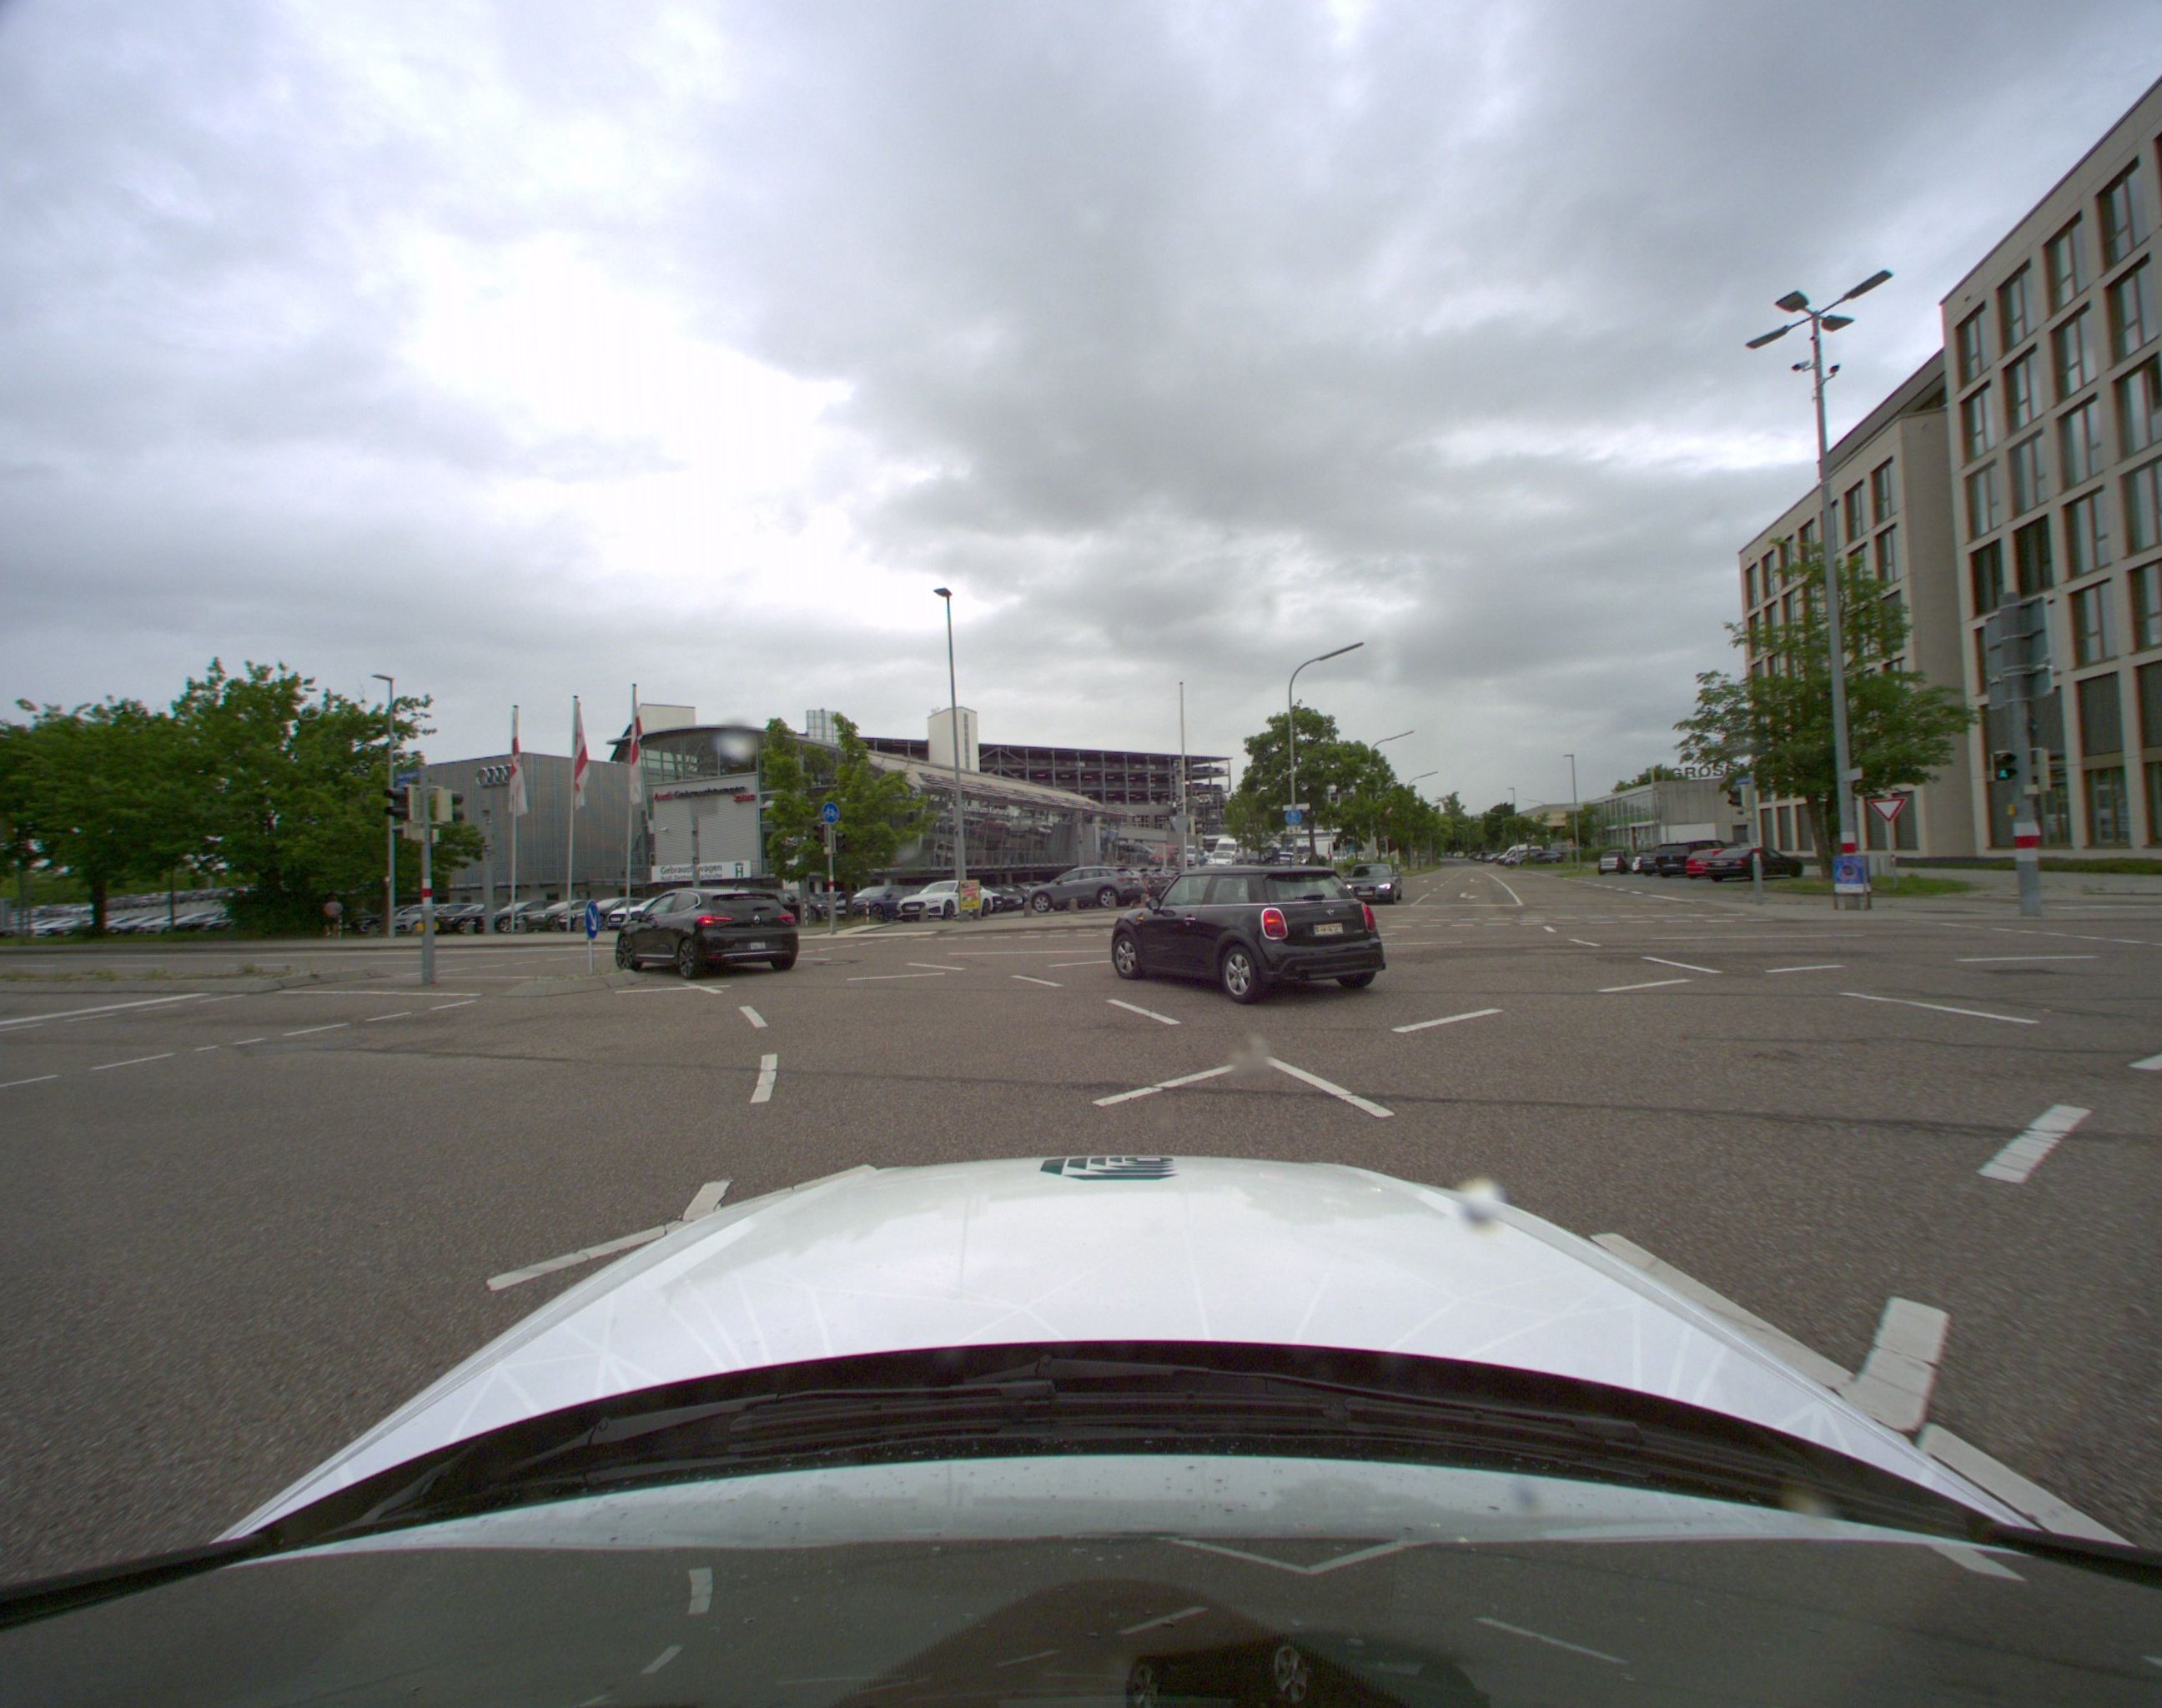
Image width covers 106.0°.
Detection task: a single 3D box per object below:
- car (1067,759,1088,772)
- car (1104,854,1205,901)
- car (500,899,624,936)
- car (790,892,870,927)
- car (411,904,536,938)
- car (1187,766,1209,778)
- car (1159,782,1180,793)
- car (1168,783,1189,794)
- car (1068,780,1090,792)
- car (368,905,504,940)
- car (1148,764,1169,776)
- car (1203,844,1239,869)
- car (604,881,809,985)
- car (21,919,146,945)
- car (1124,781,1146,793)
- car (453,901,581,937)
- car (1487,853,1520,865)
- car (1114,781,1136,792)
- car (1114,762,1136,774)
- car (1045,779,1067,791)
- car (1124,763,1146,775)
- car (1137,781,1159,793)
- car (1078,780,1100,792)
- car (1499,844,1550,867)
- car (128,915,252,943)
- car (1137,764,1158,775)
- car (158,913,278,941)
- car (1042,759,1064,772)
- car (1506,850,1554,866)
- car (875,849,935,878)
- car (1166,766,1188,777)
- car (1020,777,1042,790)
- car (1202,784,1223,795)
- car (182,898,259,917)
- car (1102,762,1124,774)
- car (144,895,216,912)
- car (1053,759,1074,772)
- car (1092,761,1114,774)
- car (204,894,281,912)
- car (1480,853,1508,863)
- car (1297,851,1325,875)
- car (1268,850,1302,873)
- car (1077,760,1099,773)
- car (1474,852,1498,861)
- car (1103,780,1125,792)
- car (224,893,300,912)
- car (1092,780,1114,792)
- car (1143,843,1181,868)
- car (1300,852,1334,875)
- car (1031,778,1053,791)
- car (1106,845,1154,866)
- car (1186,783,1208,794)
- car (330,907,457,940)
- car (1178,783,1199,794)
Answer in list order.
[{"bbox_3d":[-0.641,-15.629,144.337,2.008,1.667,3.958,-1,-1,-34],"label":"car"},{"bbox_3d":[3.822,1.235,42.174,4.734,2.014,2.009,-5,-3,18],"label":"car"},{"bbox_3d":[-22.421,2.727,35.384,1.886,1.486,4.211,-3,-4,21],"label":"car"},{"bbox_3d":[-13.403,2.940,43.800,1.789,1.696,4.340,-1,-2,21],"label":"car"},{"bbox_3d":[-27.659,3.036,37.272,1.880,1.391,4.188,-3,-4,21],"label":"car"},{"bbox_3d":[23.079,-16.174,160.648,2.008,1.667,3.958,-1,-1,-34],"label":"car"},{"bbox_3d":[16.978,-12.637,156.056,2.008,1.667,3.958,-1,-1,-34],"label":"car"},{"bbox_3d":[18.826,-12.709,157.384,2.008,1.667,3.958,-1,-1,-34],"label":"car"},{"bbox_3d":[-0.331,-12.072,144.247,2.008,1.667,3.958,-1,-1,-34],"label":"car"},{"bbox_3d":[-30.128,3.174,38.260,1.826,1.472,4.687,-2,-4,21],"label":"car"},{"bbox_3d":[14.679,-15.939,154.615,2.008,1.667,3.958,-1,-1,-34],"label":"car"},{"bbox_3d":[10.900,0.202,63.042,1.976,1.823,4.020,-1,-2,21],"label":"car"},{"bbox_3d":[-6.472,1.239,13.873,3.949,1.434,1.773,-3,-1,43],"label":"car"},{"bbox_3d":[-62.411,4.932,51.042,1.976,1.521,4.429,-1,-6,22],"label":"car"},{"bbox_3d":[9.976,-12.428,151.144,2.008,1.667,3.958,-1,-1,-34],"label":"car"},{"bbox_3d":[-25.071,2.880,36.406,1.872,1.471,4.401,-3,-4,21],"label":"car"},{"bbox_3d":[71.244,0.784,137.345,4.744,1.891,2.155,-1,-2,22],"label":"car"},{"bbox_3d":[8.138,-12.409,149.934,2.008,1.667,3.958,-1,-1,-34],"label":"car"},{"bbox_3d":[8.033,-15.800,150.139,2.008,1.667,3.958,-1,-1,-34],"label":"car"},{"bbox_3d":[-4.349,-11.931,141.025,2.008,1.667,3.958,-1,-1,-34],"label":"car"},{"bbox_3d":[9.960,-15.788,151.277,2.008,1.667,3.958,-1,-1,-34],"label":"car"},{"bbox_3d":[12.510,-12.551,152.830,2.008,1.667,3.958,-1,-1,-34],"label":"car"},{"bbox_3d":[1.347,-12.189,145.784,2.008,1.667,3.958,-1,-1,-34],"label":"car"},{"bbox_3d":[62.441,0.264,114.738,6.062,3.116,2.146,-1,-2,23],"label":"car"},{"bbox_3d":[-50.484,4.258,46.270,1.936,1.487,4.229,-1,-6,21],"label":"car"},{"bbox_3d":[12.483,-15.868,153.071,2.008,1.667,3.958,-1,-1,-34],"label":"car"},{"bbox_3d":[-48.039,4.103,45.464,1.797,1.487,4.095,-1,-6,21],"label":"car"},{"bbox_3d":[-4.827,-15.399,141.329,2.008,1.667,3.958,-1,-1,-34],"label":"car"},{"bbox_3d":[53.675,0.494,97.471,4.744,1.891,2.155,-1,-2,22],"label":"car"},{"bbox_3d":[-10.828,0.613,50.387,1.804,1.662,4.019,-1,-2,20],"label":"car"},{"bbox_3d":[18.627,-16.030,157.905,2.008,1.667,3.958,-1,-1,-34],"label":"car"},{"bbox_3d":[-8.577,-11.946,138.325,2.008,1.667,3.958,-1,-1,-34],"label":"car"},{"bbox_3d":[26.198,-12.843,162.683,2.008,1.667,3.958,-1,-1,-34],"label":"car"},{"bbox_3d":[-78.623,4.886,74.500,1.947,1.496,4.371,-1,-2,20],"label":"car"},{"bbox_3d":[5.816,-15.626,148.603,2.008,1.667,3.958,-1,-1,-34],"label":"car"},{"bbox_3d":[-83.691,4.585,75.728,1.710,1.496,4.119,-1,-2,20],"label":"car"},{"bbox_3d":[-3.093,-15.535,142.806,2.008,1.667,3.958,-1,-1,-34],"label":"car"},{"bbox_3d":[3.927,-15.637,147.240,2.008,1.667,3.958,-1,-1,-34],"label":"car"},{"bbox_3d":[-75.703,4.413,73.636,2.045,1.496,4.371,-1,-2,20],"label":"car"},{"bbox_3d":[83.179,0.762,164.156,4.744,1.891,2.155,-1,-2,22],"label":"car"},{"bbox_3d":[20.271,0.808,71.606,1.976,2.014,4.020,-1,-2,21],"label":"car"},{"bbox_3d":[15.379,0.613,61.177,1.976,1.618,4.020,-1,-2,21],"label":"car"},{"bbox_3d":[1.298,-15.624,145.518,2.008,1.667,3.958,-1,-1,-34],"label":"car"},{"bbox_3d":[93.209,0.527,187.405,4.744,1.891,2.155,-1,-2,22],"label":"car"},{"bbox_3d":[6.038,-12.364,148.463,2.008,1.667,3.958,-1,-1,-34],"label":"car"},{"bbox_3d":[-73.395,4.343,73.036,1.860,1.496,4.371,-1,-2,20],"label":"car"},{"bbox_3d":[3.937,-12.307,147.070,2.008,1.667,3.958,-1,-1,-34],"label":"car"},{"bbox_3d":[6.508,0.168,65.169,1.976,1.849,4.020,-1,-2,21],"label":"car"},{"bbox_3d":[17.713,0.744,61.059,1.976,1.618,4.021,-1,-2,23],"label":"car"},{"bbox_3d":[-6.694,-11.934,139.714,2.008,1.667,3.958,-1,-1,-34],"label":"car"},{"bbox_3d":[4.404,0.142,73.409,3.952,1.838,1.769,-1,-2,22],"label":"car"},{"bbox_3d":[22.847,-12.900,160.507,2.008,1.667,3.958,-1,-1,-34],"label":"car"},{"bbox_3d":[-32.827,3.288,39.033,1.834,1.421,4.238,-3,-4,21],"label":"car"},{"bbox_3d":[21.030,-12.830,159.170,2.008,1.667,3.958,-1,-1,-34],"label":"car"}]
